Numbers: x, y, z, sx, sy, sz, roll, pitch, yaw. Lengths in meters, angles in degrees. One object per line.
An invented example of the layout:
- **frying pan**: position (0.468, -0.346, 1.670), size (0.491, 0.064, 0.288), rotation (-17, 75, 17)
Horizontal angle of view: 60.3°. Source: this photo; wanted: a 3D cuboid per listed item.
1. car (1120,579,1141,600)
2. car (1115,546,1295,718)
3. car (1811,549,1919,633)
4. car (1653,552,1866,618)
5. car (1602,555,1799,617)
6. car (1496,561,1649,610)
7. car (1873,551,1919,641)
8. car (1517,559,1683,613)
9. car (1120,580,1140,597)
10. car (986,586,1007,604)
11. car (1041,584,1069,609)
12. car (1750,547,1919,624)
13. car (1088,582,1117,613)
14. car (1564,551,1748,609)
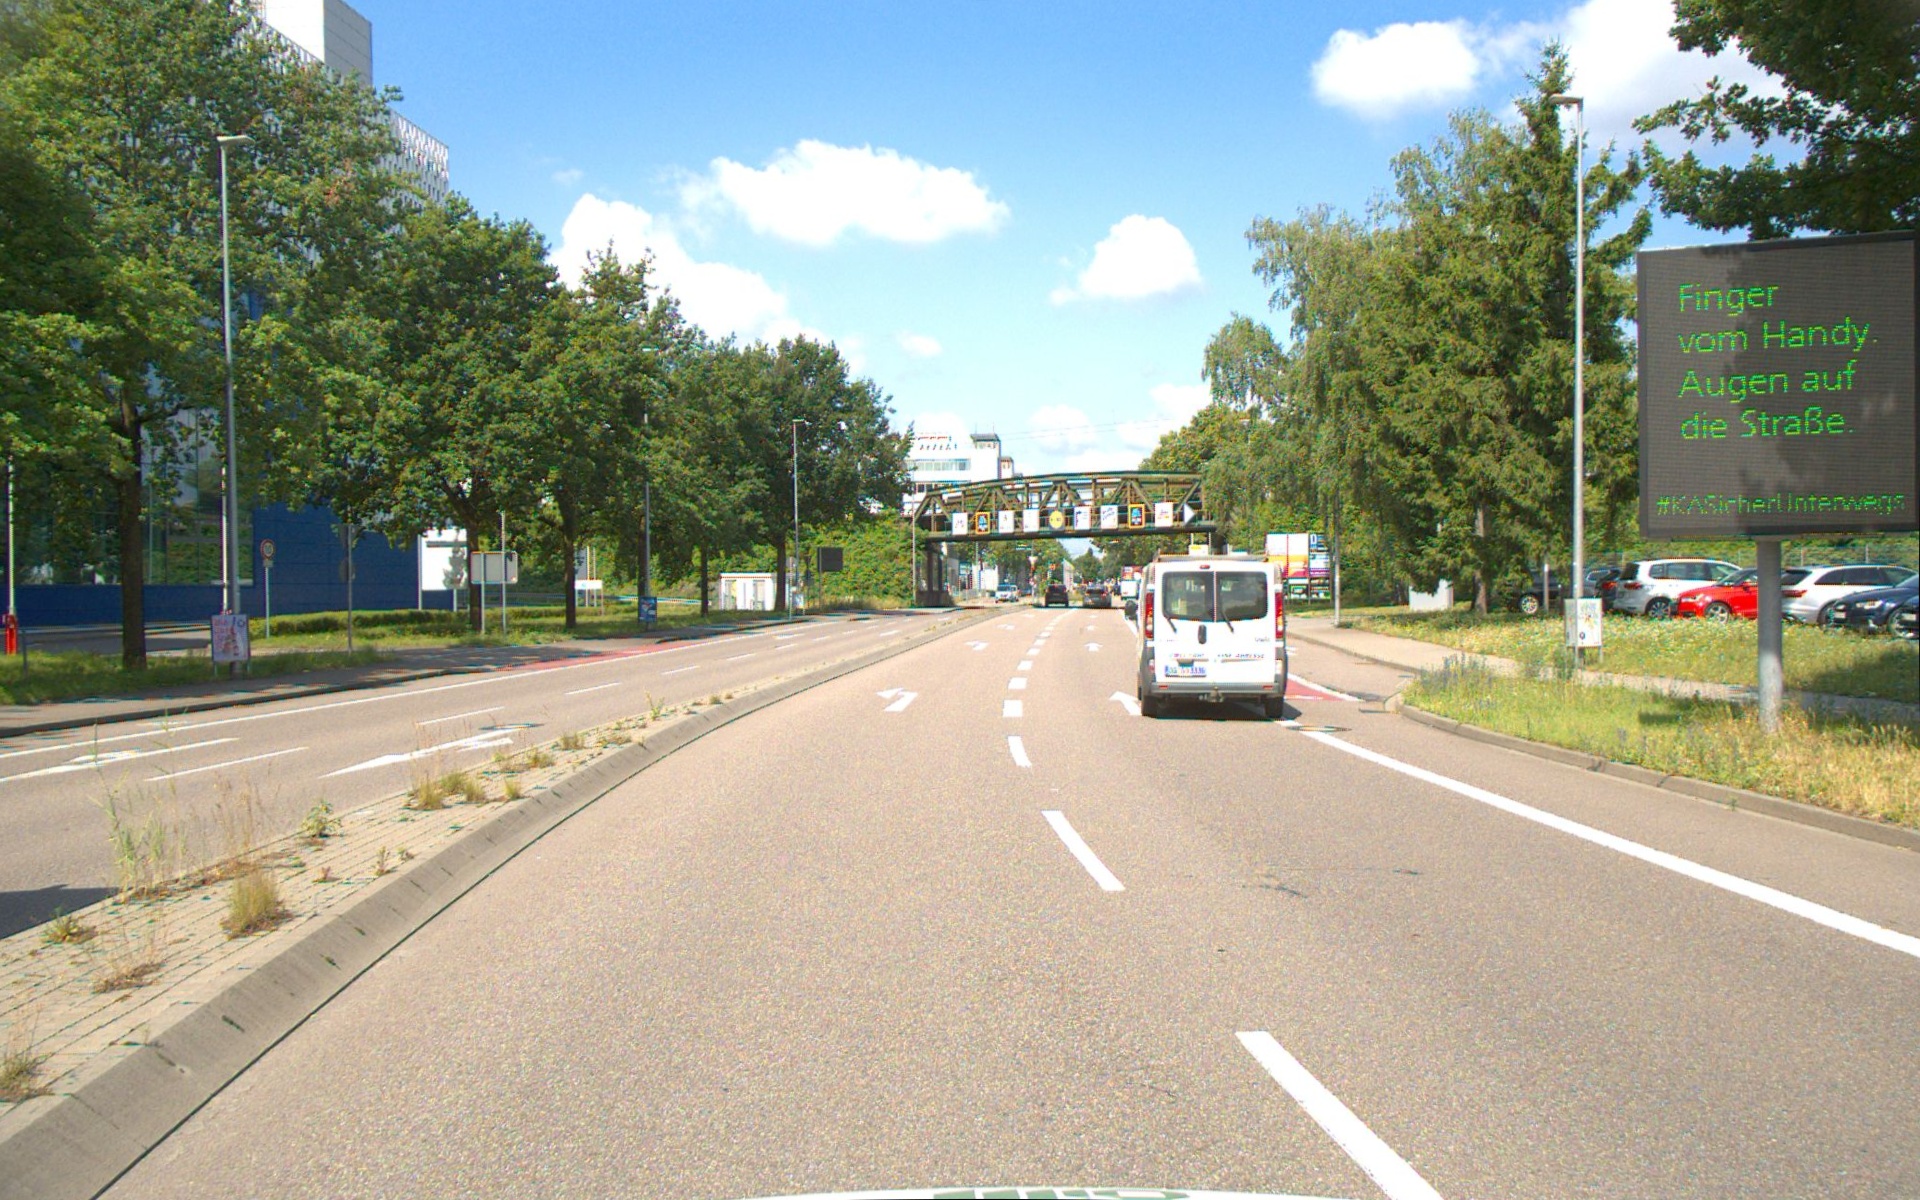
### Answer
- **car**: position (21.707, -1.365, 210.356), size (2.327, 2.518, 4.766), rotation (-1, 0, 10)
- **car**: position (3.222, 0.327, 22.566), size (1.932, 2.095, 4.567), rotation (-1, 2, 2)
- **car**: position (19.104, -0.197, 31.992), size (4.264, 1.539, 1.937), rotation (0, 2, 3)
- **car**: position (19.527, -0.390, 40.539), size (4.264, 1.539, 1.937), rotation (0, 2, 3)
- **car**: position (19.205, -0.377, 43.024), size (4.264, 1.539, 1.937), rotation (0, 2, 3)
- **car**: position (19.814, -0.490, 53.663), size (4.264, 1.539, 1.937), rotation (0, 2, 3)
- **car**: position (18.925, -0.086, 29.434), size (4.264, 1.539, 1.937), rotation (0, 2, 3)
- **car**: position (19.241, -0.440, 49.866), size (4.264, 1.539, 1.937), rotation (0, 2, 3)
- **car**: position (18.469, -1.283, 179.963), size (1.951, 1.739, 4.100), rotation (-1, 0, 8)
- **car**: position (4.202, -0.580, 188.897), size (1.951, 2.049, 4.003), rotation (-1, 0, 6)
- **car**: position (7.334, -0.300, 127.179), size (1.951, 1.802, 4.004), rotation (0, 2, 5)
- **car**: position (19.129, -0.330, 34.630), size (4.264, 1.539, 1.937), rotation (0, 2, 3)
- **car**: position (9.906, -0.177, 115.306), size (1.951, 2.049, 4.003), rotation (-1, 0, 5)
- **car**: position (19.139, -0.567, 45.606), size (4.264, 1.539, 1.937), rotation (0, 2, 3)
